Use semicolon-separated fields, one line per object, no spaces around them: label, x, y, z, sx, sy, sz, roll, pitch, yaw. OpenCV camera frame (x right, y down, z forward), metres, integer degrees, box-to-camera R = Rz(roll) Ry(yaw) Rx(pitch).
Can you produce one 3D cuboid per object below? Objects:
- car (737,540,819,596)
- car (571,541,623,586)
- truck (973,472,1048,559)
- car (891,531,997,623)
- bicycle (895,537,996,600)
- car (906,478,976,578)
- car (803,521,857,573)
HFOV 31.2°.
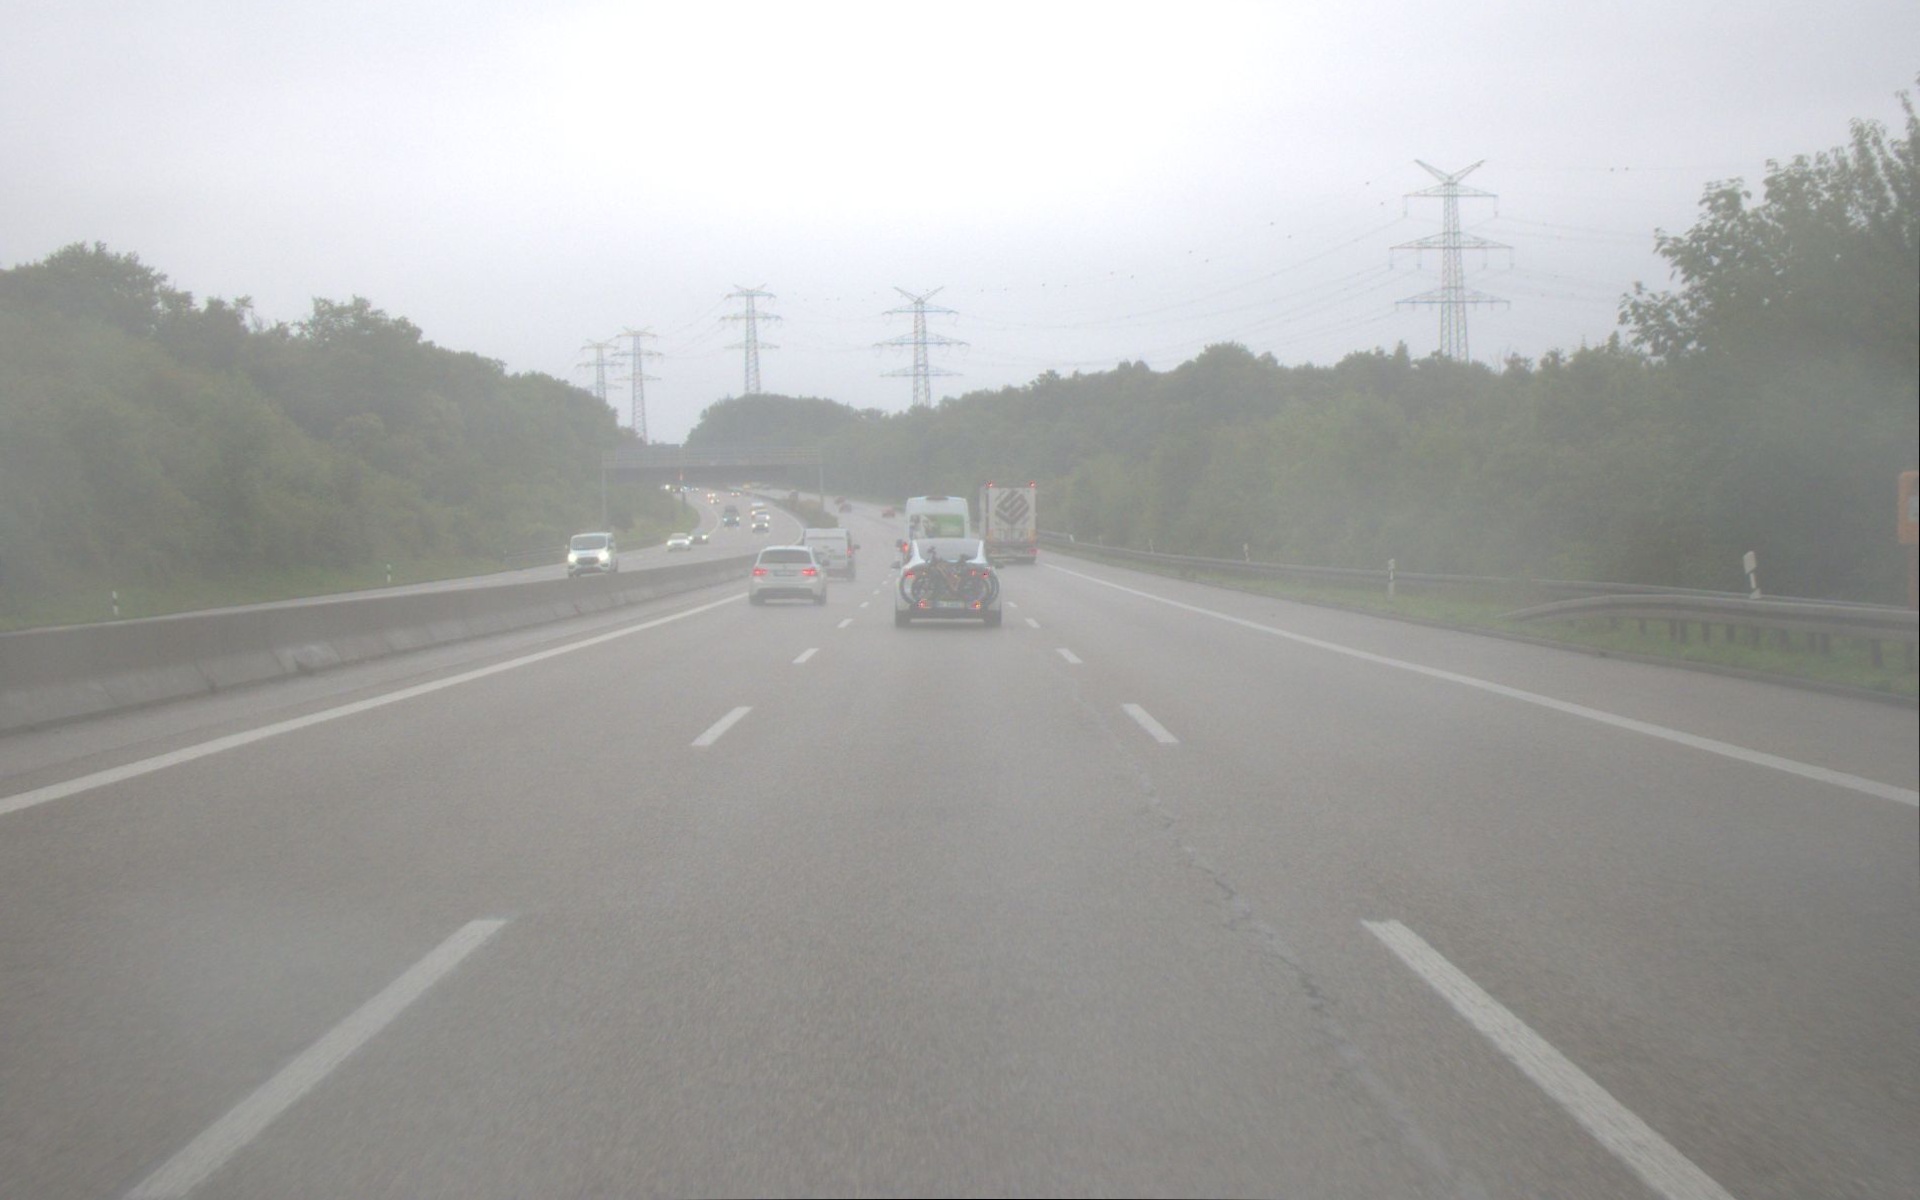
car;-4.334;-0.776;82.269;1.866;1.284;4.000;-1;1;-2
car;-16.644;-1.701;157.974;1.993;2.007;5.762;-1;1;-2
truck;2.566;-4.407;178.768;3.603;4.317;13.201;-1;2;0
car;-0.336;-0.460;62.993;1.860;1.562;4.964;0;2;-1
bicycle;-0.256;-0.553;60.041;1.753;1.087;0.914;0;1;-1
car;-0.560;-2.101;101.112;1.993;2.854;4.000;1;0;0
car;-4.528;-1.838;119.892;1.846;1.766;4.000;-1;1;-2
